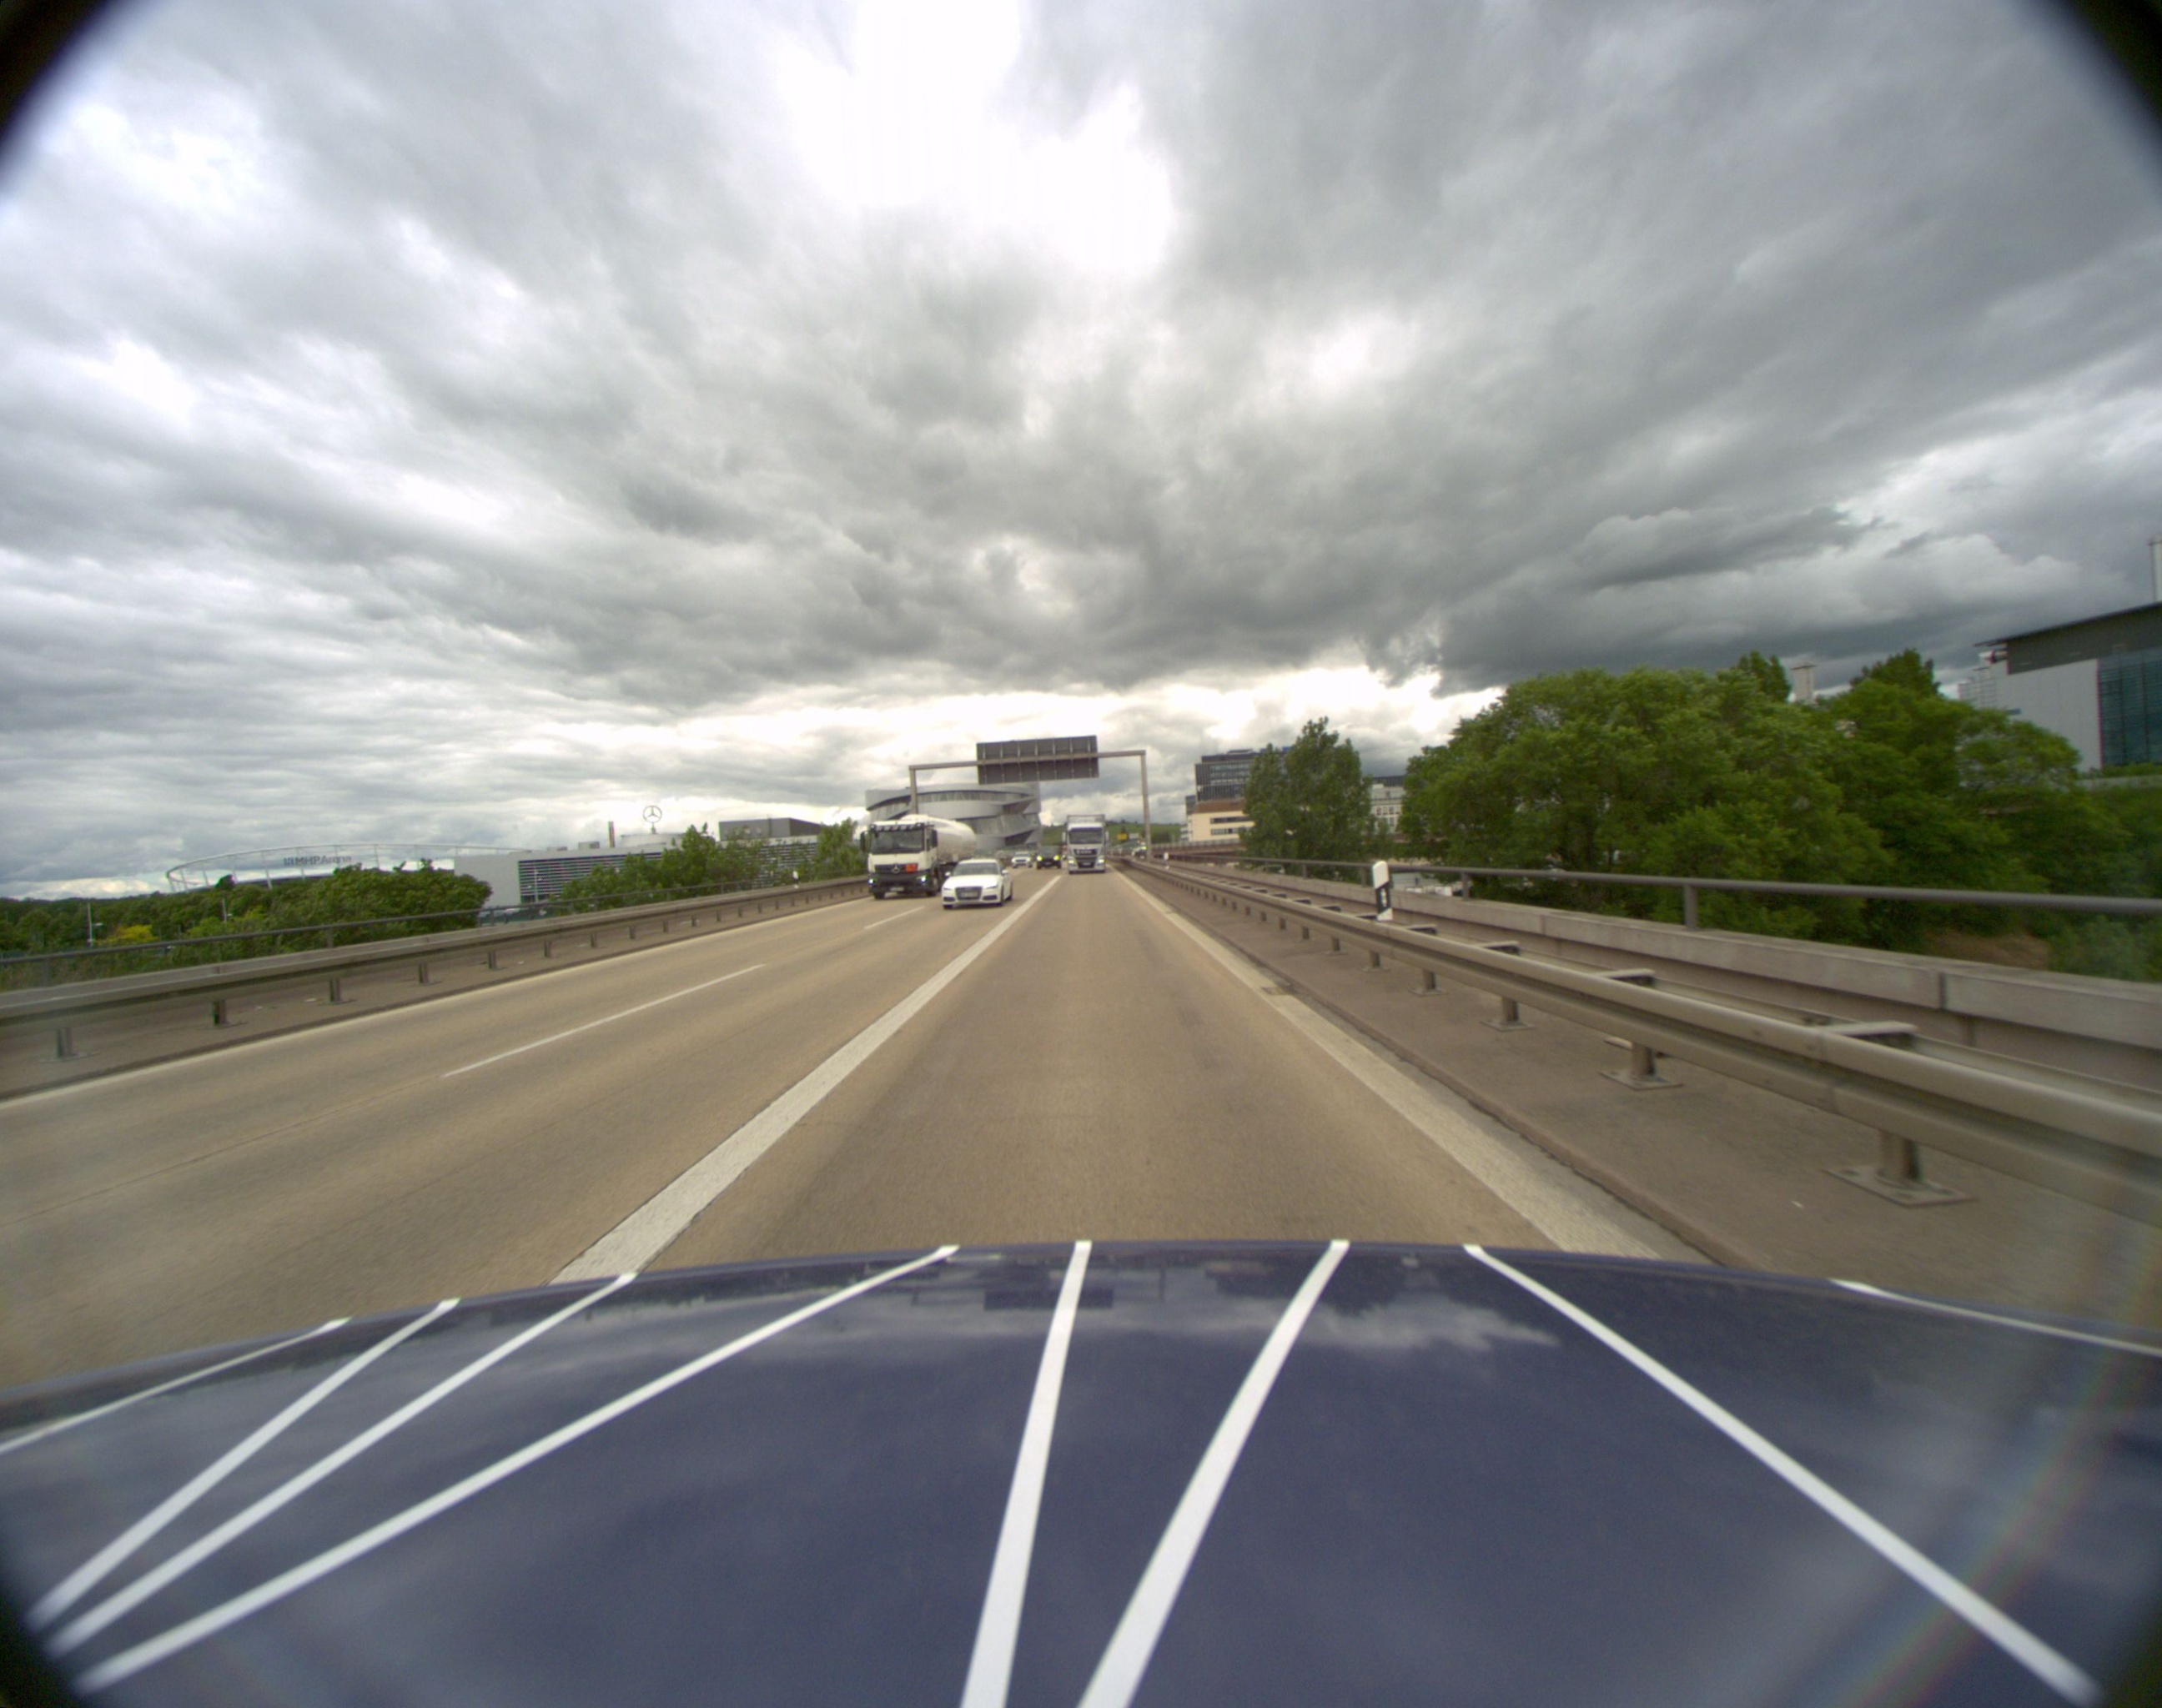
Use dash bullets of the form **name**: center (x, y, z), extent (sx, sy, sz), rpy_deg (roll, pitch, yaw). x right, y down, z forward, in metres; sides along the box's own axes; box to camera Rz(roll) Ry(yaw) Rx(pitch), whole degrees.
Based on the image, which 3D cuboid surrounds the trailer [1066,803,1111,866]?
- **trailer**: center (0.600, -1.335, 56.201), extent (2.880, 4.104, 11.219), rpy_deg (-2, 1, 1)

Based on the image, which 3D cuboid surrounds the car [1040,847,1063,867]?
- **car**: center (-2.514, 0.251, 65.737), extent (1.765, 1.624, 3.627), rpy_deg (-2, 1, 1)

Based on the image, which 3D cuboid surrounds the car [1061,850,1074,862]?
- **car**: center (-2.442, 0.295, 138.039), extent (1.998, 2.002, 3.999), rpy_deg (-2, 1, 1)

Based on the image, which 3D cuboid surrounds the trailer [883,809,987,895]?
- **trailer**: center (-6.818, -0.166, 37.393), extent (2.657, 3.523, 11.218), rpy_deg (-2, 1, 1)

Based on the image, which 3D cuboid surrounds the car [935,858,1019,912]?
- **car**: center (-3.136, 0.897, 23.751), extent (1.848, 1.443, 3.933), rpy_deg (-2, 0, 3)

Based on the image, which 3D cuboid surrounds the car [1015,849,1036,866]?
- **car**: center (-5.665, 0.316, 77.713), extent (1.785, 1.624, 3.627), rpy_deg (-2, 1, 1)

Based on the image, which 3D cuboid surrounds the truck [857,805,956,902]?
- **truck**: center (-6.919, -0.081, 30.789), extent (2.637, 3.494, 4.903), rpy_deg (-3, 1, 1)

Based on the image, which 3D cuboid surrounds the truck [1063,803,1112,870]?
- **truck**: center (0.482, -1.126, 51.432), extent (2.946, 4.136, 6.291), rpy_deg (-2, 1, 1)
